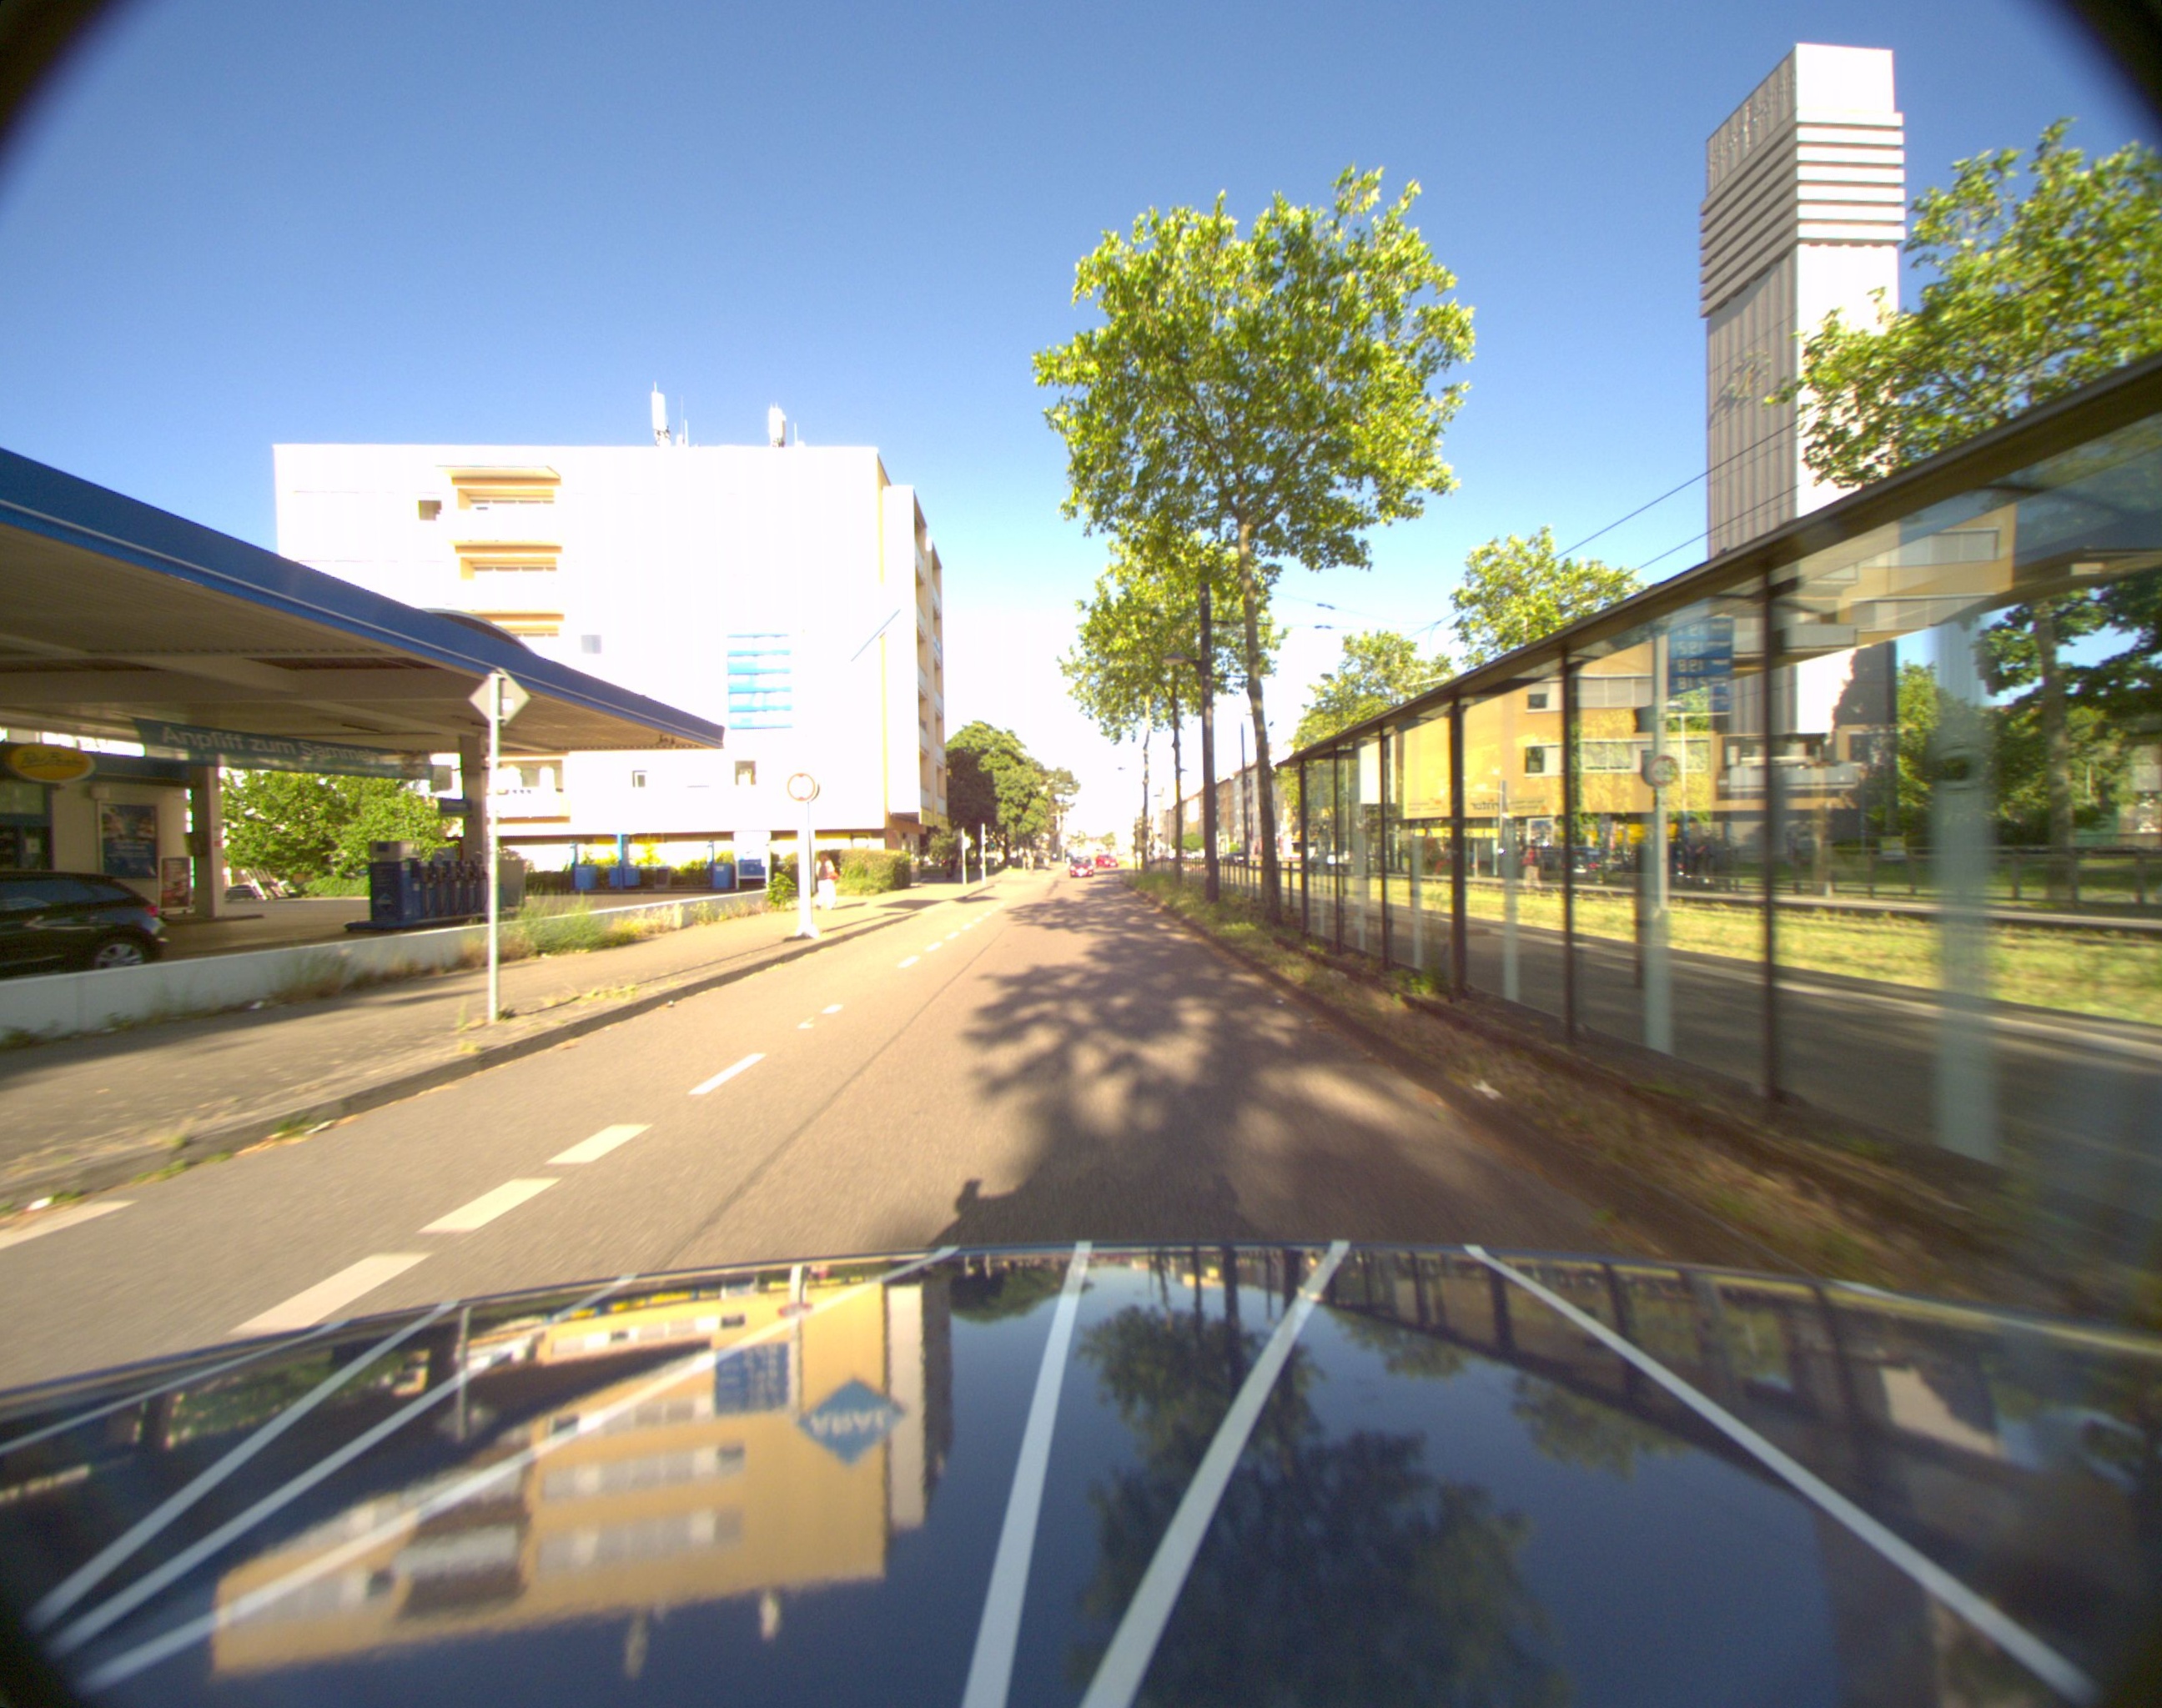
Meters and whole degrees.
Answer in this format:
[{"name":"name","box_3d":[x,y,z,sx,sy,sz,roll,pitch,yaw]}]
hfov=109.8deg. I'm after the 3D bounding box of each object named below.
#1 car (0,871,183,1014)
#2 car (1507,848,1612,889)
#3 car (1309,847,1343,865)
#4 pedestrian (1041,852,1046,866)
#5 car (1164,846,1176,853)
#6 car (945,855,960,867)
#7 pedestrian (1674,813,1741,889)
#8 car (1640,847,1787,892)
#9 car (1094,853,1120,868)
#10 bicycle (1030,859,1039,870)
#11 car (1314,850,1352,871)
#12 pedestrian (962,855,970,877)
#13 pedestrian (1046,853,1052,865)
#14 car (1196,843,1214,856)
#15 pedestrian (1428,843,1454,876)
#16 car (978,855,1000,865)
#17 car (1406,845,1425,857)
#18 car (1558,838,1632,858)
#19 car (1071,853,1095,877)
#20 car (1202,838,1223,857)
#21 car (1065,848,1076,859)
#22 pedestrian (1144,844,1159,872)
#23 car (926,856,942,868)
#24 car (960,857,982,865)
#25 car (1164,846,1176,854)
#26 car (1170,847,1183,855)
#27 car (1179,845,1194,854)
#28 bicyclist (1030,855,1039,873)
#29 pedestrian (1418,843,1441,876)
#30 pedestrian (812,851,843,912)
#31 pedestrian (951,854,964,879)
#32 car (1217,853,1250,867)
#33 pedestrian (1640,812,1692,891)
[{"name":"car","box_3d":[-12.216,0.982,7.597,1.725,1.455,4.004,-2,0,-2]},{"name":"car","box_3d":[17.774,0.501,28.412,1.609,1.419,3.536,-1,0,-2]},{"name":"car","box_3d":[19.456,0.143,60.397,1.329,1.317,3.415,-1,1,-6]},{"name":"pedestrian","box_3d":[-4.815,0.625,97.497,0.567,1.688,0.595,-2,1,-18]},{"name":"car","box_3d":[21.438,-1.072,183.731,2.144,1.697,5.402,-2,1,0]},{"name":"car","box_3d":[-19.527,1.099,115.124,2.001,1.689,4.272,-2,1,-13]},{"name":"pedestrian","box_3d":[14.434,-0.064,17.524,0.885,1.680,0.754,-2,1,1]},{"name":"car","box_3d":[20.636,0.449,25.034,1.555,1.346,4.000,-1,1,1]},{"name":"car","box_3d":[2.769,0.713,82.470,1.545,1.522,3.596,-4,1,-20]},{"name":"bicycle","box_3d":[-3.897,0.890,64.015,0.684,0.925,1.735,-1,0,-1]},{"name":"car","box_3d":[15.280,0.354,46.177,1.328,1.197,2.965,-2,1,0]},{"name":"pedestrian","box_3d":[-8.281,0.861,54.778,0.505,1.537,0.518,0,2,-17]},{"name":"pedestrian","box_3d":[-4.113,0.599,96.981,0.596,1.518,0.633,-2,1,-10]},{"name":"car","box_3d":[20.583,-0.702,126.275,2.144,2.022,5.157,-2,1,0]},{"name":"pedestrian","box_3d":[14.637,0.221,30.874,0.696,1.334,0.734,-1,1,2]},{"name":"car","box_3d":[-13.612,0.931,112.481,1.997,1.316,4.280,-2,1,10]},{"name":"car","box_3d":[39.327,-0.363,89.345,1.641,1.300,4.004,-1,1,18]},{"name":"car","box_3d":[41.028,-0.462,60.703,4.525,1.478,2.000,-1,1,0]},{"name":"car","box_3d":[0.173,0.712,53.087,1.619,1.537,4.277,-2,1,1]},{"name":"car","box_3d":[20.629,-1.011,119.463,2.231,2.808,5.228,-2,1,0]},{"name":"car","box_3d":[-1.930,-0.100,139.144,1.999,1.806,3.999,-3,1,0]},{"name":"pedestrian","box_3d":[3.918,0.208,42.345,0.660,1.520,0.538,-2,1,-7]},{"name":"car","box_3d":[-22.448,1.219,116.080,2.001,1.689,4.271,-1,0,-16]},{"name":"car","box_3d":[-16.399,1.091,113.268,1.997,1.060,4.280,-2,1,10]},{"name":"car","box_3d":[20.638,-0.965,175.696,2.144,1.697,5.402,-2,1,0]},{"name":"car","box_3d":[20.536,-0.613,163.964,2.144,1.697,5.445,-2,1,0]},{"name":"car","box_3d":[20.593,-0.899,148.328,2.144,1.697,5.445,-2,1,0]},{"name":"bicyclist","box_3d":[-3.899,0.832,63.881,0.678,1.466,0.936,-2,1,-2]},{"name":"pedestrian","box_3d":[14.579,0.216,31.785,0.733,1.334,0.774,-1,1,14]},{"name":"pedestrian","box_3d":[-7.184,0.766,21.540,0.605,1.692,0.552,-2,1,4]},{"name":"pedestrian","box_3d":[-8.902,0.890,54.619,0.790,1.817,1.032,0,2,-17]},{"name":"car","box_3d":[16.911,0.643,84.491,1.956,1.433,4.524,-2,0,-12]},{"name":"pedestrian","box_3d":[14.136,-0.060,18.376,0.722,1.856,0.636,-2,1,1]}]
